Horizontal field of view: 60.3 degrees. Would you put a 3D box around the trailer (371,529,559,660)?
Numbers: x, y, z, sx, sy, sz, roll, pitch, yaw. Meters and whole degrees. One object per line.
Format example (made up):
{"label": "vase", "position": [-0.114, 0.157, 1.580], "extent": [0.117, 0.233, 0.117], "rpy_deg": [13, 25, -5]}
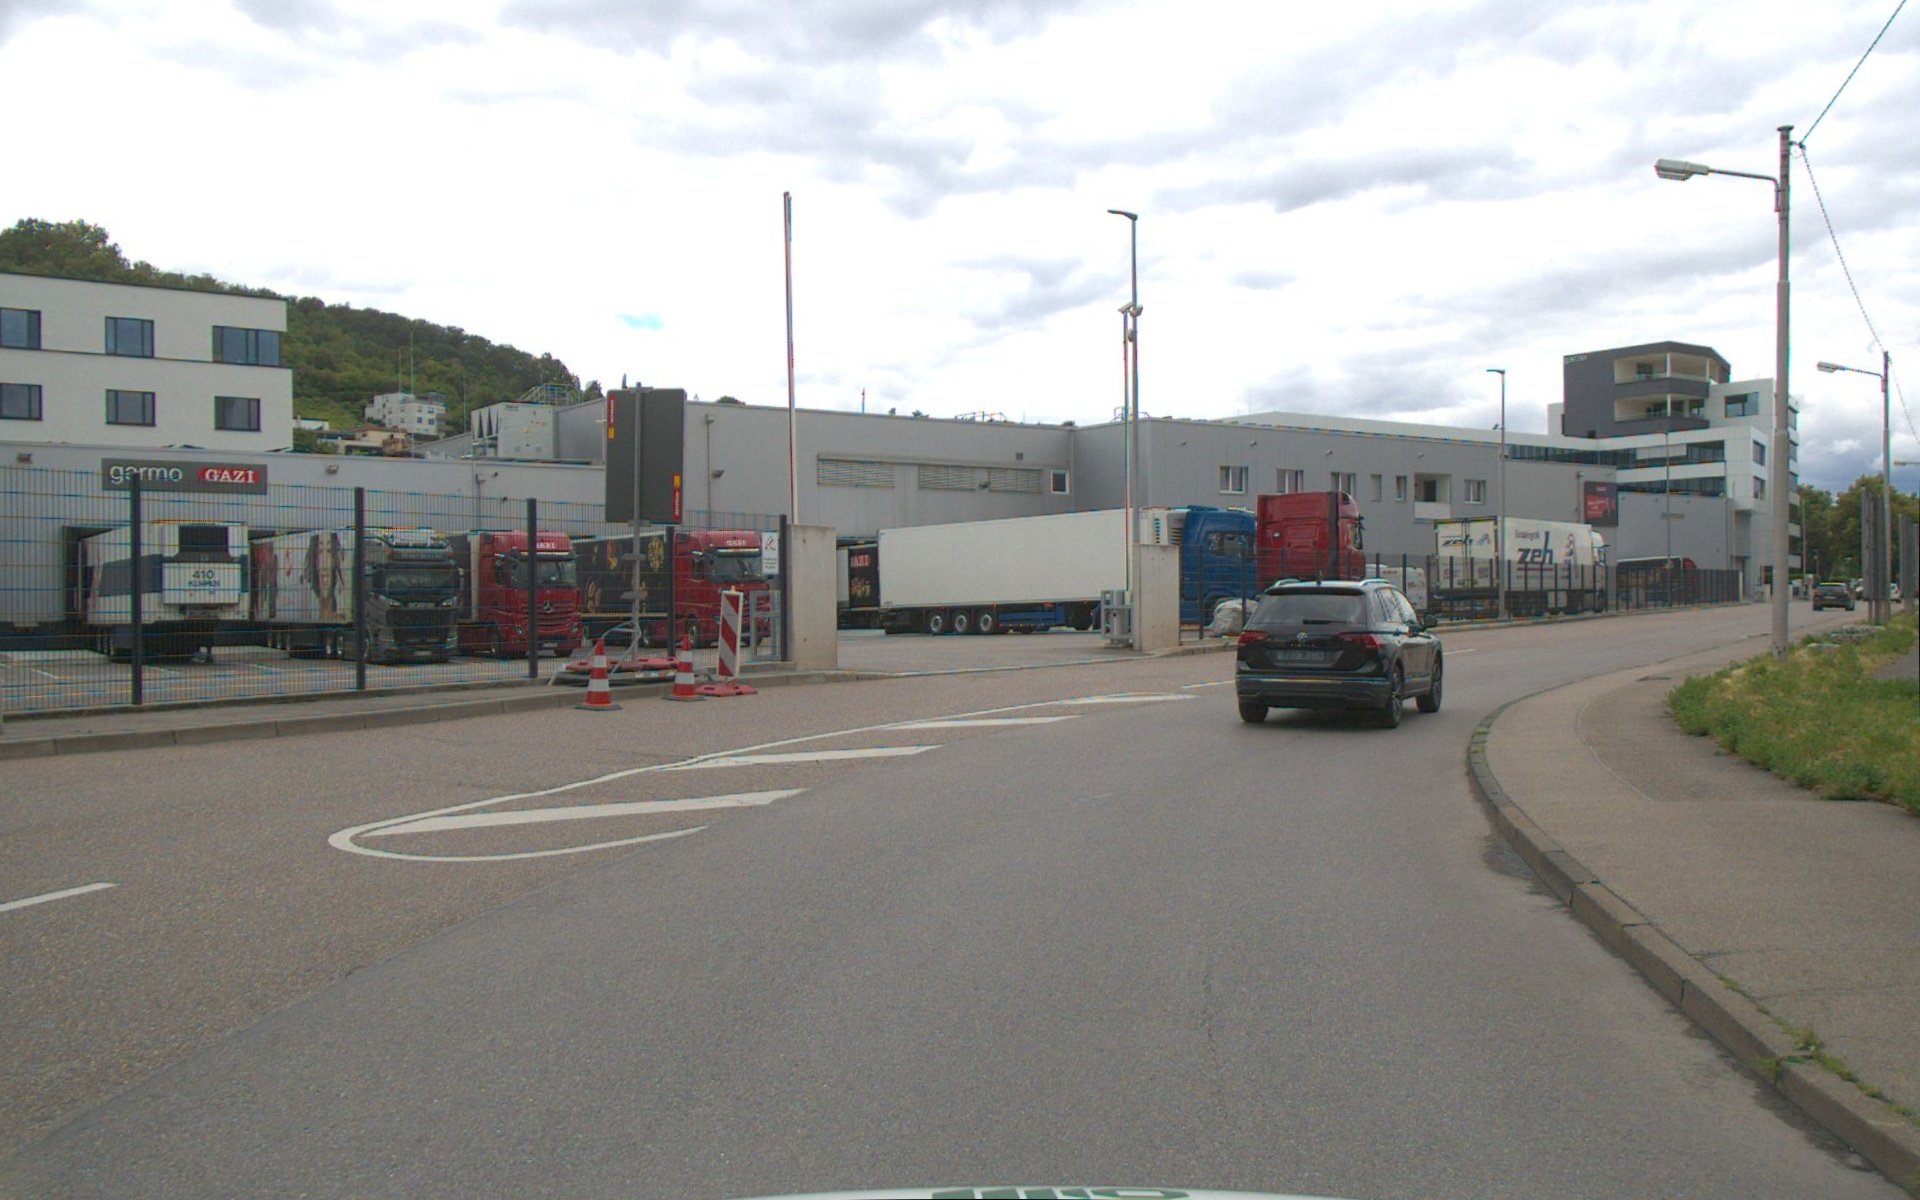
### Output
{"label": "trailer", "position": [-17.410, -0.072, 57.498], "extent": [2.762, 4.149, 10.852], "rpy_deg": [0, -1, -36]}

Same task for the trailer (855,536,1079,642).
{"label": "trailer", "position": [-0.011, -0.332, 71.423], "extent": [2.752, 4.180, 12.931], "rpy_deg": [-1, -1, -35]}

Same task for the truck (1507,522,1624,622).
{"label": "truck", "position": [28.101, -1.220, 76.555], "extent": [3.075, 4.189, 6.915], "rpy_deg": [-6, -3, 36]}

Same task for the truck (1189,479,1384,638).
{"label": "truck", "position": [9.248, -1.050, 46.227], "extent": [2.871, 4.091, 6.920], "rpy_deg": [-1, -1, 34]}

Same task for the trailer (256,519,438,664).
{"label": "trailer", "position": [-20.627, -0.156, 55.145], "extent": [2.762, 4.376, 11.035], "rpy_deg": [0, -1, -36]}

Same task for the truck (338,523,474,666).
{"label": "truck", "position": [-16.729, -0.126, 49.811], "extent": [2.772, 4.111, 4.111], "rpy_deg": [0, -1, -36]}

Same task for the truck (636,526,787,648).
{"label": "truck", "position": [-8.668, -0.370, 57.219], "extent": [2.771, 3.997, 5.849], "rpy_deg": [0, -1, -36]}

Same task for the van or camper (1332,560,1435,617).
{"label": "van or camper", "position": [21.888, -0.582, 85.715], "extent": [2.082, 2.811, 4.920], "rpy_deg": [0, -1, -38]}

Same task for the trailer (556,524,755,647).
{"label": "trailer", "position": [-11.473, -0.384, 61.096], "extent": [2.762, 4.149, 10.852], "rpy_deg": [0, -1, -36]}

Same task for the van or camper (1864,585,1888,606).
{"label": "van or camper", "position": [99.900, -0.491, 180.408], "extent": [1.958, 2.296, 3.989], "rpy_deg": [-1, 0, 33]}

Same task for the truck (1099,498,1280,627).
{"label": "truck", "position": [7.719, -1.185, 55.398], "extent": [5.480, 4.091, 2.932], "rpy_deg": [-1, -1, 19]}

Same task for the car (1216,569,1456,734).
{"label": "car", "position": [4.604, 0.494, 19.768], "extent": [1.954, 1.713, 4.369], "rpy_deg": [1, 1, 24]}

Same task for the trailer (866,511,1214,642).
{"label": "trailer", "position": [2.516, -0.659, 59.584], "extent": [13.770, 4.257, 3.018], "rpy_deg": [-1, -1, 43]}

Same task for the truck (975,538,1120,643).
{"label": "truck", "position": [3.433, -0.341, 66.424], "extent": [2.770, 3.997, 5.852], "rpy_deg": [-1, -1, -35]}

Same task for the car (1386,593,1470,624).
{"label": "car", "position": [25.078, 0.476, 88.764], "extent": [1.979, 1.579, 3.947], "rpy_deg": [0, -1, -37]}

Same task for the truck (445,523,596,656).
{"label": "truck", "position": [-14.167, -0.270, 53.079], "extent": [2.771, 3.997, 5.849], "rpy_deg": [0, -1, -36]}

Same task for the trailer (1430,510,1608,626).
{"label": "trailer", "position": [24.328, -1.245, 71.236], "extent": [3.080, 4.335, 13.968], "rpy_deg": [-6, -3, 35]}

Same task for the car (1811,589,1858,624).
{"label": "car", "position": [47.611, 0.316, 90.032], "extent": [1.957, 1.780, 3.991], "rpy_deg": [-1, 0, 32]}

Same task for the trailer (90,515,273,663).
{"label": "trailer", "position": [-24.505, -0.205, 51.632], "extent": [3.058, 4.149, 11.260], "rpy_deg": [0, -1, -36]}
